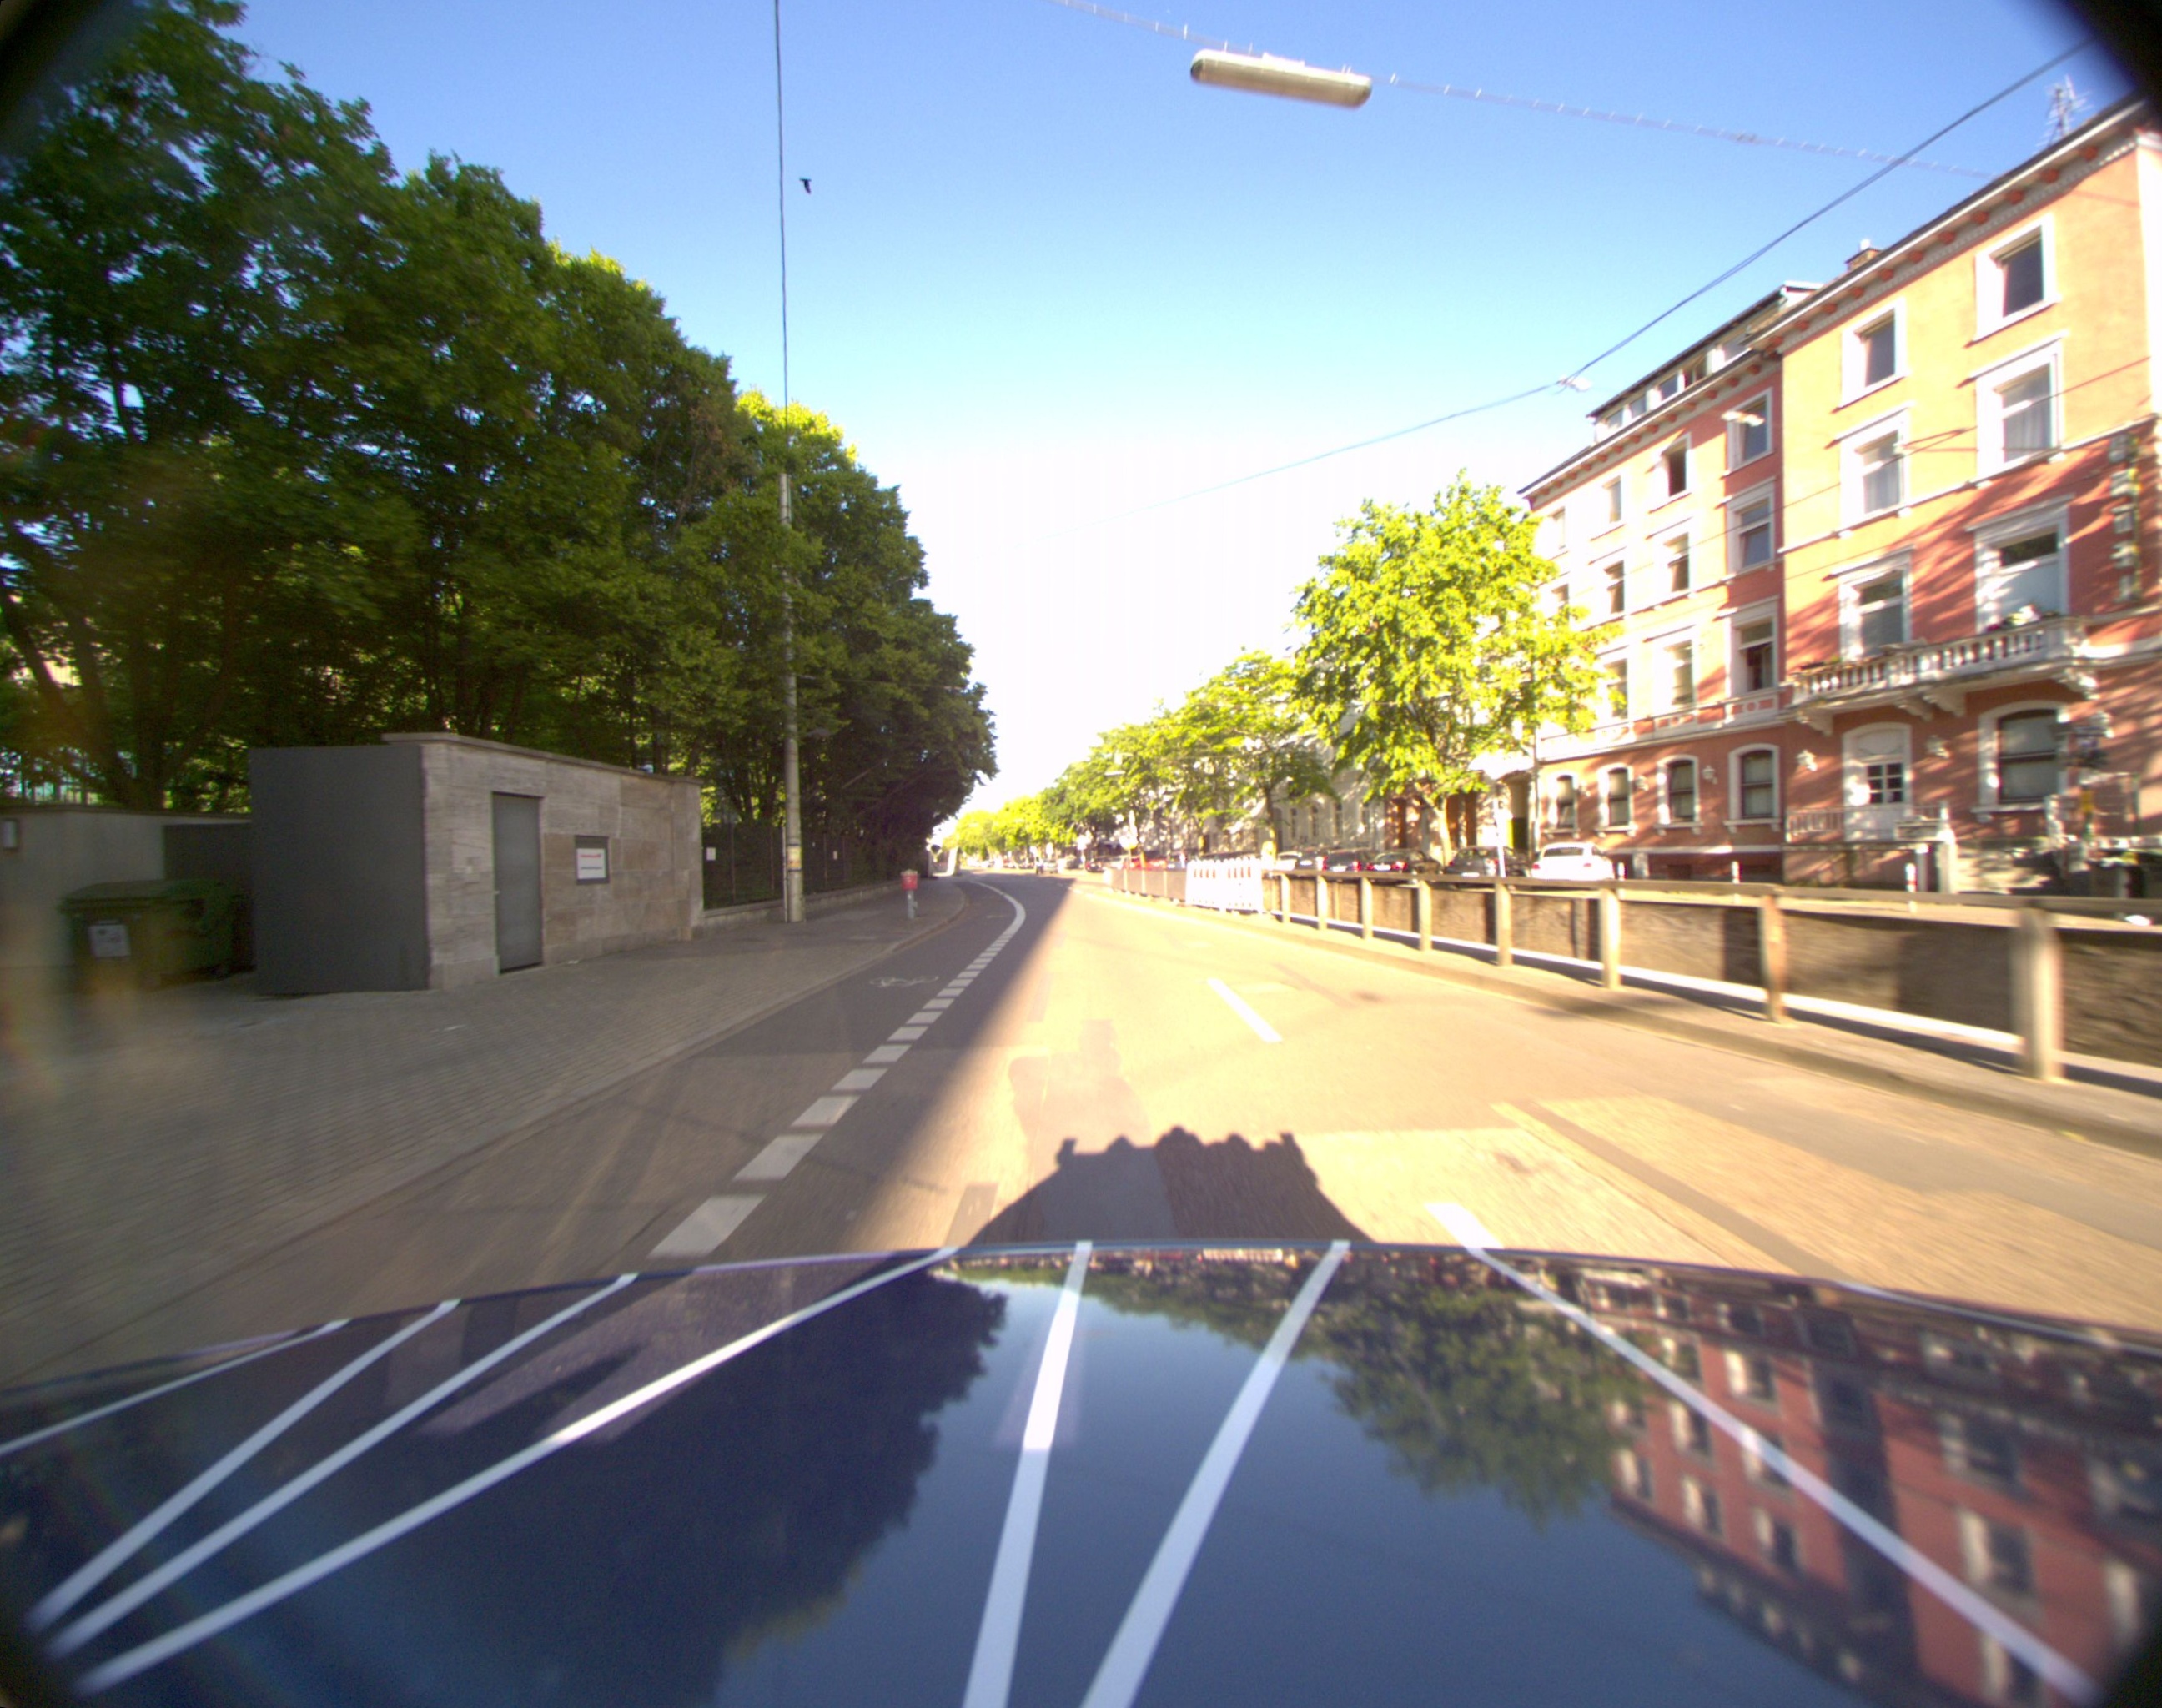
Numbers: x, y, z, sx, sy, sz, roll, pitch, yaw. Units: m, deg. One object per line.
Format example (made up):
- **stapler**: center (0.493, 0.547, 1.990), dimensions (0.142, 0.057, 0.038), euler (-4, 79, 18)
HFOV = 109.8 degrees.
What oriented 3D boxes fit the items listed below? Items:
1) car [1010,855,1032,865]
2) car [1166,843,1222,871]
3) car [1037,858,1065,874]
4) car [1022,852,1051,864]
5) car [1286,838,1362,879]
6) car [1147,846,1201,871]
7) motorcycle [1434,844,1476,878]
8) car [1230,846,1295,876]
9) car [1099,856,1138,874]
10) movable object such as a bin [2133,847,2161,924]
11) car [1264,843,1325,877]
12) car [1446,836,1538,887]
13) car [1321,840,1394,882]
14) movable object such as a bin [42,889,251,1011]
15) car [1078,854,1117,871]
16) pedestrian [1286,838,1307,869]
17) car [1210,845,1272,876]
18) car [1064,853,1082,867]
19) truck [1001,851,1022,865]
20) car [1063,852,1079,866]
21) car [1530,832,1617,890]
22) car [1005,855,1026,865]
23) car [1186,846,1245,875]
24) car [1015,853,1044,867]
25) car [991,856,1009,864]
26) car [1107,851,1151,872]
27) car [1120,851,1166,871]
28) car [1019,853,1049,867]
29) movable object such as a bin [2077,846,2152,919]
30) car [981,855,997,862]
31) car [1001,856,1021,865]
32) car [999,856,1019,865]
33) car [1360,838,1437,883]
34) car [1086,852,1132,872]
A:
- **car**: center (-11.278, 1.100, 143.759), dimensions (3.775, 1.584, 1.670), euler (-5, 1, -18)
- **car**: center (8.519, 0.246, 56.997), dimensions (4.208, 1.788, 1.781), euler (-5, 2, -41)
- **car**: center (-3.211, 1.287, 79.708), dimensions (1.878, 1.591, 4.421), euler (-2, 0, -16)
- **car**: center (-6.916, 0.687, 118.234), dimensions (4.104, 1.561, 1.670), euler (-5, 1, -18)
- **car**: center (12.197, 0.191, 38.021), dimensions (4.293, 1.713, 1.703), euler (-6, 3, -43)
- **car**: center (7.363, 0.369, 59.913), dimensions (4.208, 1.627, 1.739), euler (-5, 0, -41)
- **motorcycle**: center (15.173, 0.265, 30.879), dimensions (0.680, 1.272, 1.927), euler (-3, 2, -1)
- **car**: center (10.644, 0.381, 44.537), dimensions (3.828, 1.477, 1.766), euler (-5, 2, -41)
- **car**: center (3.745, 1.063, 75.030), dimensions (1.744, 1.511, 3.772), euler (-2, 2, 44)
- **movable object such as a bin**: center (17.504, 0.506, 12.175), dimensions (0.380, 1.234, 0.639), euler (-2, 1, 0)
- **car**: center (11.641, 0.314, 41.344), dimensions (3.286, 1.524, 1.703), euler (-6, 2, -43)
- **car**: center (14.747, 0.247, 27.207), dimensions (3.929, 1.499, 1.685), euler (-5, 1, -44)
- **car**: center (12.664, 0.304, 34.619), dimensions (1.631, 1.607, 3.993), euler (-3, 1, 43)
- **movable object such as a bin**: center (-12.543, 1.253, 10.258), dimensions (1.376, 1.459, 1.111), euler (-2, 1, 0)
- **car**: center (1.737, 0.886, 80.364), dimensions (4.007, 1.477, 1.777), euler (-4, 2, -44)
- **pedestrian**: center (12.390, -0.019, 43.741), dimensions (0.767, 1.745, 0.806), euler (-2, 0, -23)
- **car**: center (10.014, 0.391, 47.411), dimensions (3.877, 1.645, 1.768), euler (-4, 2, -41)
- **car**: center (-1.078, 0.810, 102.514), dimensions (1.673, 1.886, 3.211), euler (-2, 0, -12)
- **truck**: center (-13.885, 0.784, 151.120), dimensions (3.774, 2.409, 1.671), euler (-4, 1, -13)
- **car**: center (-1.405, 0.717, 105.883), dimensions (1.673, 1.886, 3.211), euler (-2, 0, -12)
- **car**: center (15.717, 0.194, 24.169), dimensions (1.731, 1.513, 3.923), euler (-4, 1, 41)
- **car**: center (-12.707, 1.226, 147.242), dimensions (3.775, 1.584, 1.670), euler (-5, 1, -18)
- **car**: center (8.934, 0.423, 50.459), dimensions (3.877, 1.645, 1.768), euler (-4, 2, -41)
- **car**: center (-8.481, 0.956, 124.584), dimensions (4.311, 1.940, 1.670), euler (-5, 1, -18)
- **car**: center (-18.515, 1.383, 174.262), dimensions (3.775, 1.584, 1.670), euler (-5, 1, -18)
- **car**: center (4.597, 0.689, 72.210), dimensions (4.208, 1.714, 1.780), euler (-5, 2, -44)
- **car**: center (5.739, 0.601, 69.660), dimensions (4.208, 1.549, 1.636), euler (-4, 1, -41)
- **car**: center (-7.542, 0.907, 121.832), dimensions (4.311, 1.940, 1.670), euler (-5, 1, -18)
- **movable object such as a bin**: center (17.459, 0.463, 12.845), dimensions (0.380, 1.196, 0.639), euler (-2, 1, 0)
- **car**: center (-22.915, 1.114, 188.704), dimensions (3.624, 1.492, 1.502), euler (-5, 1, -18)
- **car**: center (-14.225, 1.283, 153.983), dimensions (3.775, 1.584, 1.670), euler (-5, 1, -18)
- **car**: center (-14.955, 1.361, 157.852), dimensions (3.775, 1.584, 1.670), euler (-5, 1, -18)
- **car**: center (13.368, 0.244, 31.880), dimensions (1.631, 1.607, 3.993), euler (-3, 1, 43)
- **car**: center (2.868, 0.846, 77.289), dimensions (4.366, 1.704, 1.944), euler (-5, 2, -35)
